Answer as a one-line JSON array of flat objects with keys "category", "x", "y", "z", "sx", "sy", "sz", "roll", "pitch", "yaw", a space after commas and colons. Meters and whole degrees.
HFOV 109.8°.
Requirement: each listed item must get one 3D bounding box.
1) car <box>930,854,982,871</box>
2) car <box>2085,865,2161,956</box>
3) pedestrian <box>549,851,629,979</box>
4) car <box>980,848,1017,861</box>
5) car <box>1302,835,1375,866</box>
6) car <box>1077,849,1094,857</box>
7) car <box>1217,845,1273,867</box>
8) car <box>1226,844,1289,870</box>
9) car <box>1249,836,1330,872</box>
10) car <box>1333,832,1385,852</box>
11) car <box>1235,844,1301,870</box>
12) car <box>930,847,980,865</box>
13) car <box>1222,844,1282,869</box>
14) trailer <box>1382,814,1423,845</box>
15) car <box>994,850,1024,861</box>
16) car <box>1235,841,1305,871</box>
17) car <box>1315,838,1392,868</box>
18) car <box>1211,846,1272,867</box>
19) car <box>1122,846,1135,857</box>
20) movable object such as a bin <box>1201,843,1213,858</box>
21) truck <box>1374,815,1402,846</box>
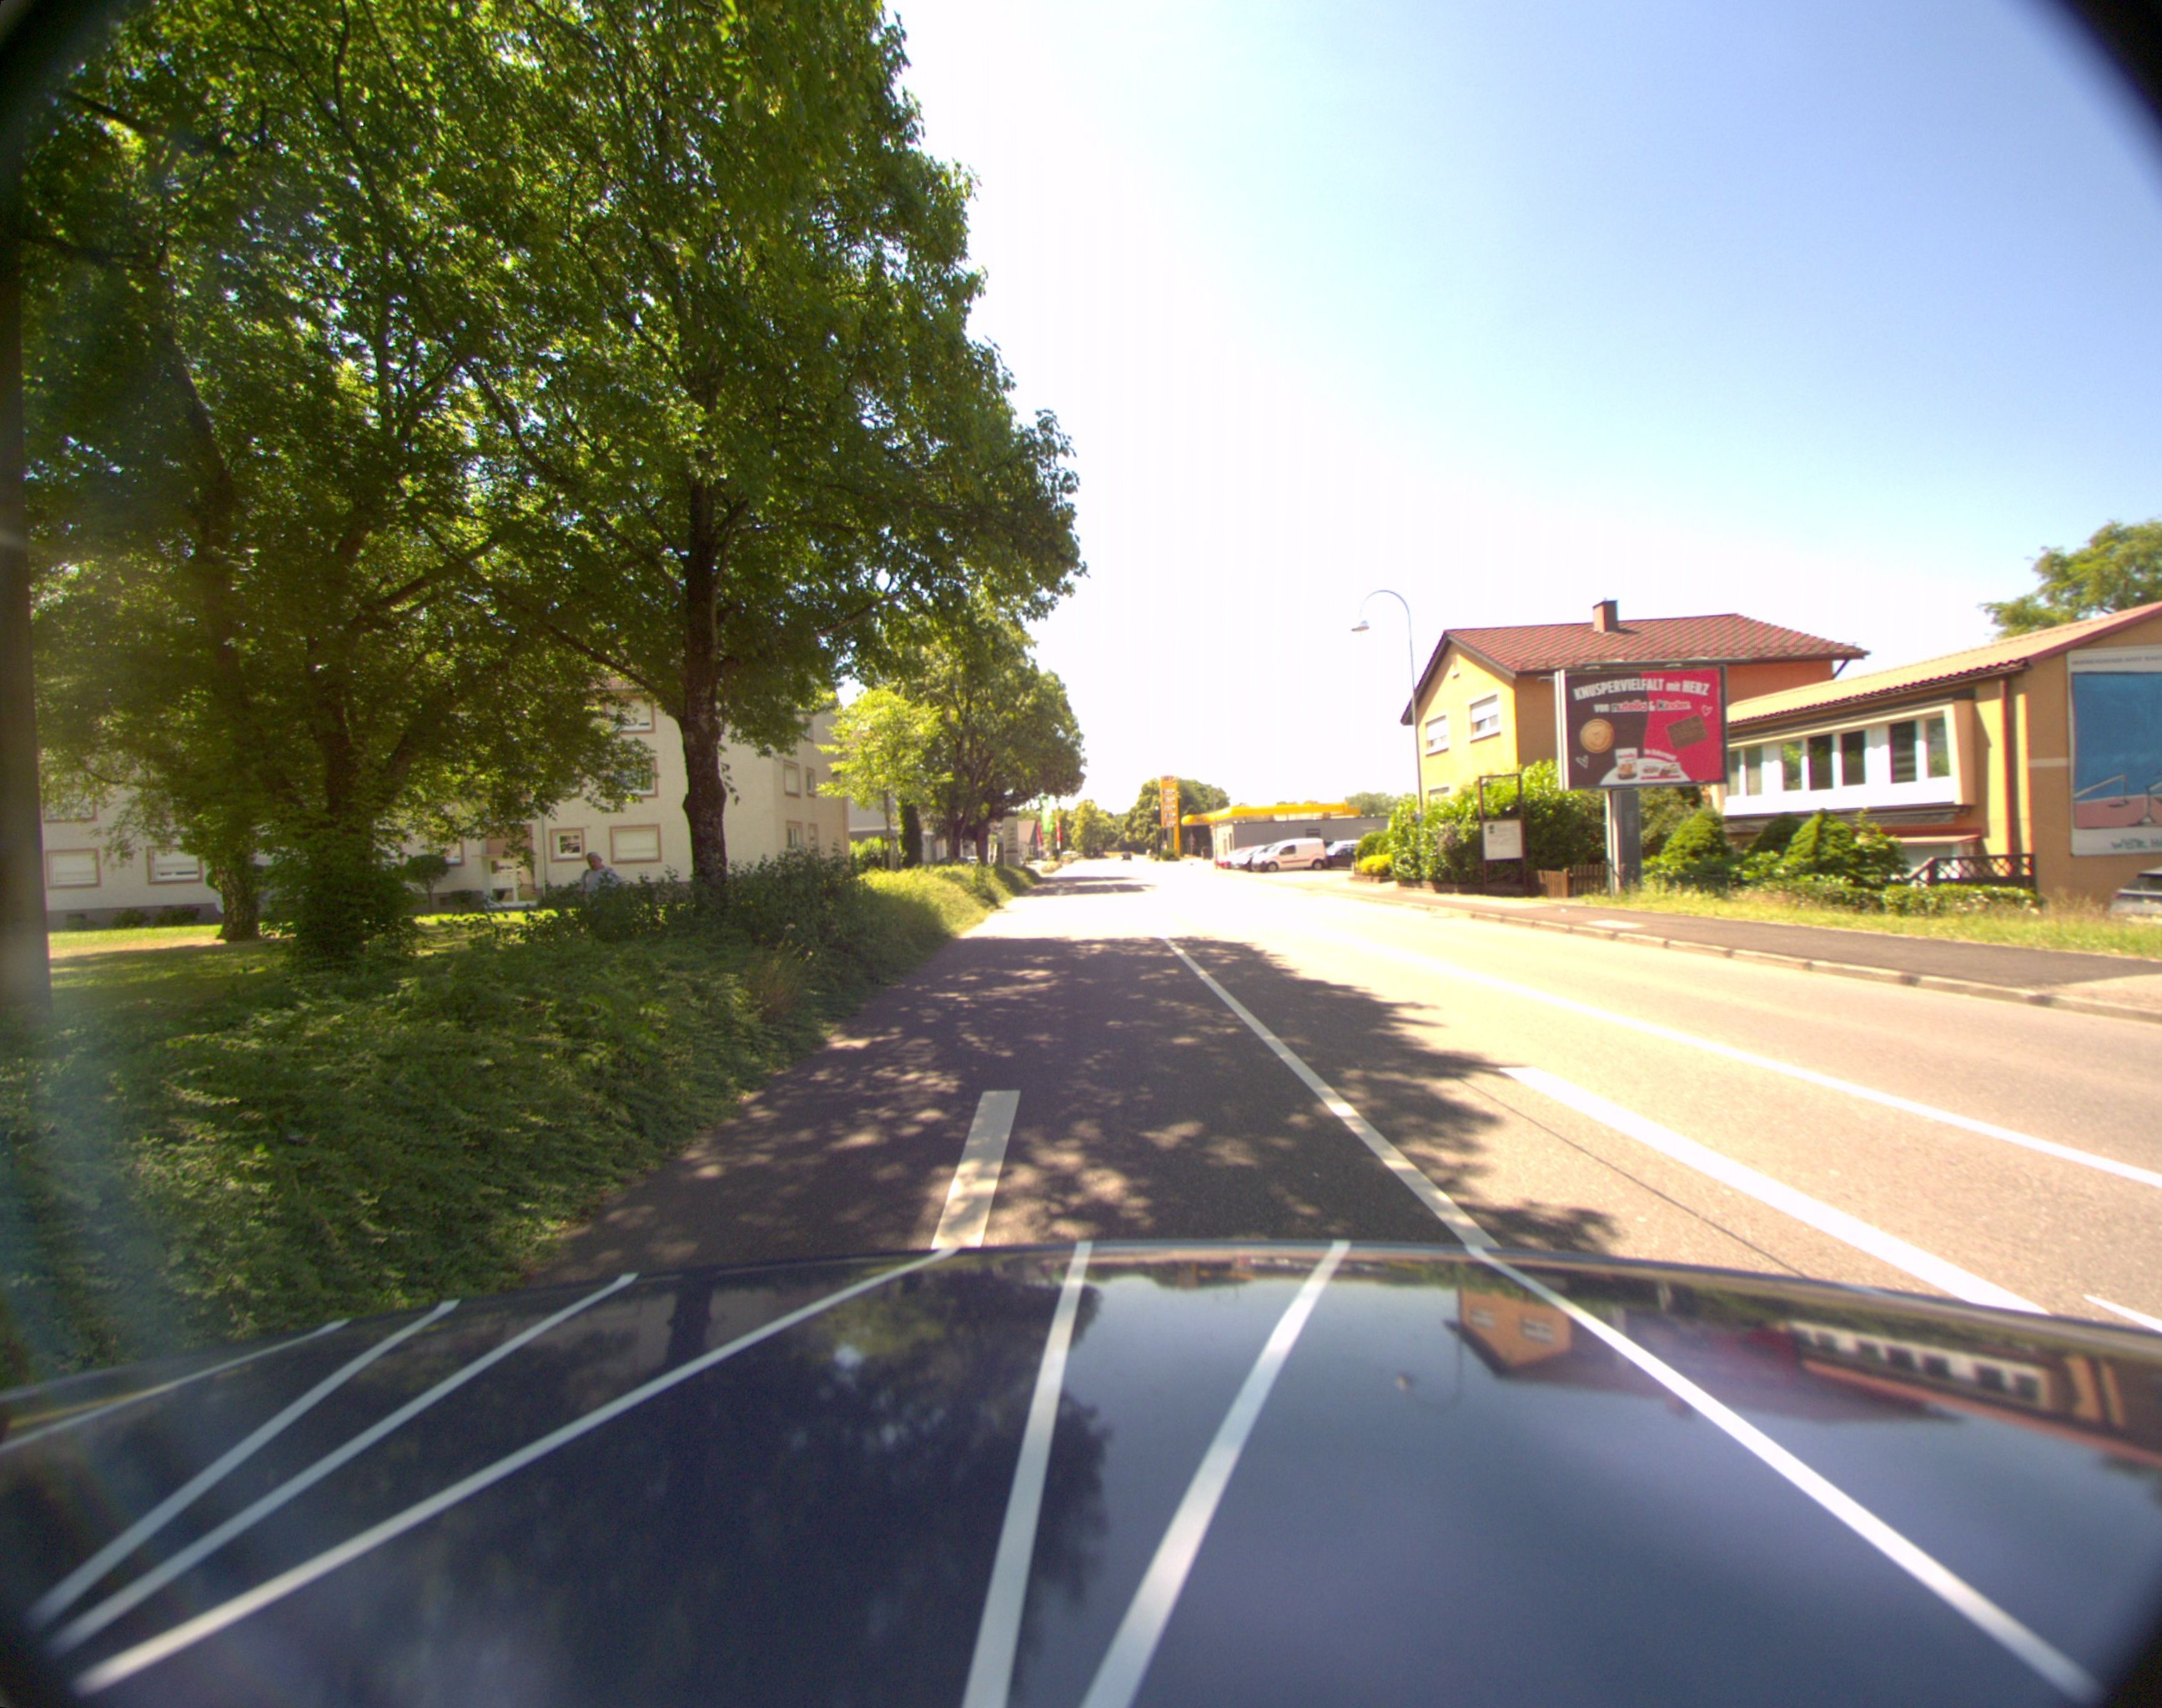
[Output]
[{"category": "car", "x": -11.516, "y": 0.736, "z": 69.809, "sx": 4.362, "sy": 1.363, "sz": 1.952, "roll": -3, "pitch": 1, "yaw": -22}, {"category": "car", "x": 19.748, "y": 0.902, "z": 12.389, "sx": 4.035, "sy": 1.442, "sz": 1.780, "roll": -1, "pitch": 1, "yaw": 6}, {"category": "pedestrian", "x": -7.571, "y": 0.913, "z": 11.726, "sx": 0.705, "sy": 1.903, "sz": 0.660, "roll": -2, "pitch": 1, "yaw": 3}, {"category": "car", "x": -11.289, "y": 0.124, "z": 104.327, "sx": 4.586, "sy": 1.632, "sz": 2.002, "roll": -2, "pitch": 1, "yaw": 20}, {"category": "car", "x": 16.417, "y": -0.211, "z": 48.538, "sx": 3.912, "sy": 1.850, "sz": 1.999, "roll": -2, "pitch": 1, "yaw": -1}, {"category": "car", "x": 0.906, "y": -0.212, "z": 150.402, "sx": 3.405, "sy": 1.498, "sz": 1.582, "roll": -2, "pitch": 1, "yaw": 2}, {"category": "car", "x": 11.931, "y": 0.128, "z": 55.416, "sx": 3.673, "sy": 1.449, "sz": 1.892, "roll": -2, "pitch": 1, "yaw": -2}, {"category": "car", "x": 11.798, "y": 0.175, "z": 50.884, "sx": 3.673, "sy": 1.572, "sz": 1.922, "roll": -2, "pitch": 1, "yaw": -2}, {"category": "car", "x": 12.152, "y": -0.009, "z": 44.432, "sx": 4.105, "sy": 1.887, "sz": 1.999, "roll": -2, "pitch": 1, "yaw": -4}, {"category": "car", "x": 24.545, "y": -1.027, "z": 67.162, "sx": 3.996, "sy": 1.575, "sz": 1.754, "roll": -2, "pitch": 1, "yaw": 2}, {"category": "car", "x": 11.922, "y": 0.180, "z": 48.679, "sx": 3.673, "sy": 1.523, "sz": 1.922, "roll": -2, "pitch": 1, "yaw": -2}, {"category": "car", "x": -10.957, "y": 0.174, "z": 66.362, "sx": 3.997, "sy": 1.541, "sz": 1.797, "roll": -1, "pitch": 1, "yaw": 0}, {"category": "car", "x": 11.880, "y": 0.154, "z": 52.978, "sx": 3.673, "sy": 1.596, "sz": 1.881, "roll": -2, "pitch": 1, "yaw": -2}, {"category": "trailer", "x": 34.265, "y": -2.565, "z": 81.263, "sx": 1.869, "sy": 3.201, "sz": 5.913, "roll": -2, "pitch": 1, "yaw": 1}, {"category": "car", "x": -10.541, "y": 0.164, "z": 111.205, "sx": 3.992, "sy": 1.452, "sz": 1.807, "roll": -2, "pitch": 1, "yaw": 16}, {"category": "car", "x": 11.507, "y": 0.126, "z": 46.406, "sx": 3.673, "sy": 1.663, "sz": 1.922, "roll": -2, "pitch": 1, "yaw": -2}, {"category": "car", "x": 16.503, "y": -0.050, "z": 46.147, "sx": 3.997, "sy": 1.559, "sz": 1.830, "roll": -3, "pitch": 0, "yaw": -1}, {"category": "car", "x": 12.132, "y": 0.170, "z": 57.606, "sx": 4.136, "sy": 1.436, "sz": 1.826, "roll": -2, "pitch": 1, "yaw": 0}, {"category": "car", "x": 7.200, "y": -0.380, "z": 115.782, "sx": 1.714, "sy": 1.486, "sz": 4.277, "roll": -2, "pitch": 0, "yaw": 0}, {"category": "movable object such as a bin", "x": 13.417, "y": -0.395, "z": 81.113, "sx": 0.954, "sy": 1.508, "sz": 1.428, "roll": -6, "pitch": 0, "yaw": 1}, {"category": "truck", "x": 34.325, "y": -2.622, "z": 85.048, "sx": 1.850, "sy": 3.223, "sz": 3.189, "roll": -2, "pitch": 0, "yaw": 1}]
